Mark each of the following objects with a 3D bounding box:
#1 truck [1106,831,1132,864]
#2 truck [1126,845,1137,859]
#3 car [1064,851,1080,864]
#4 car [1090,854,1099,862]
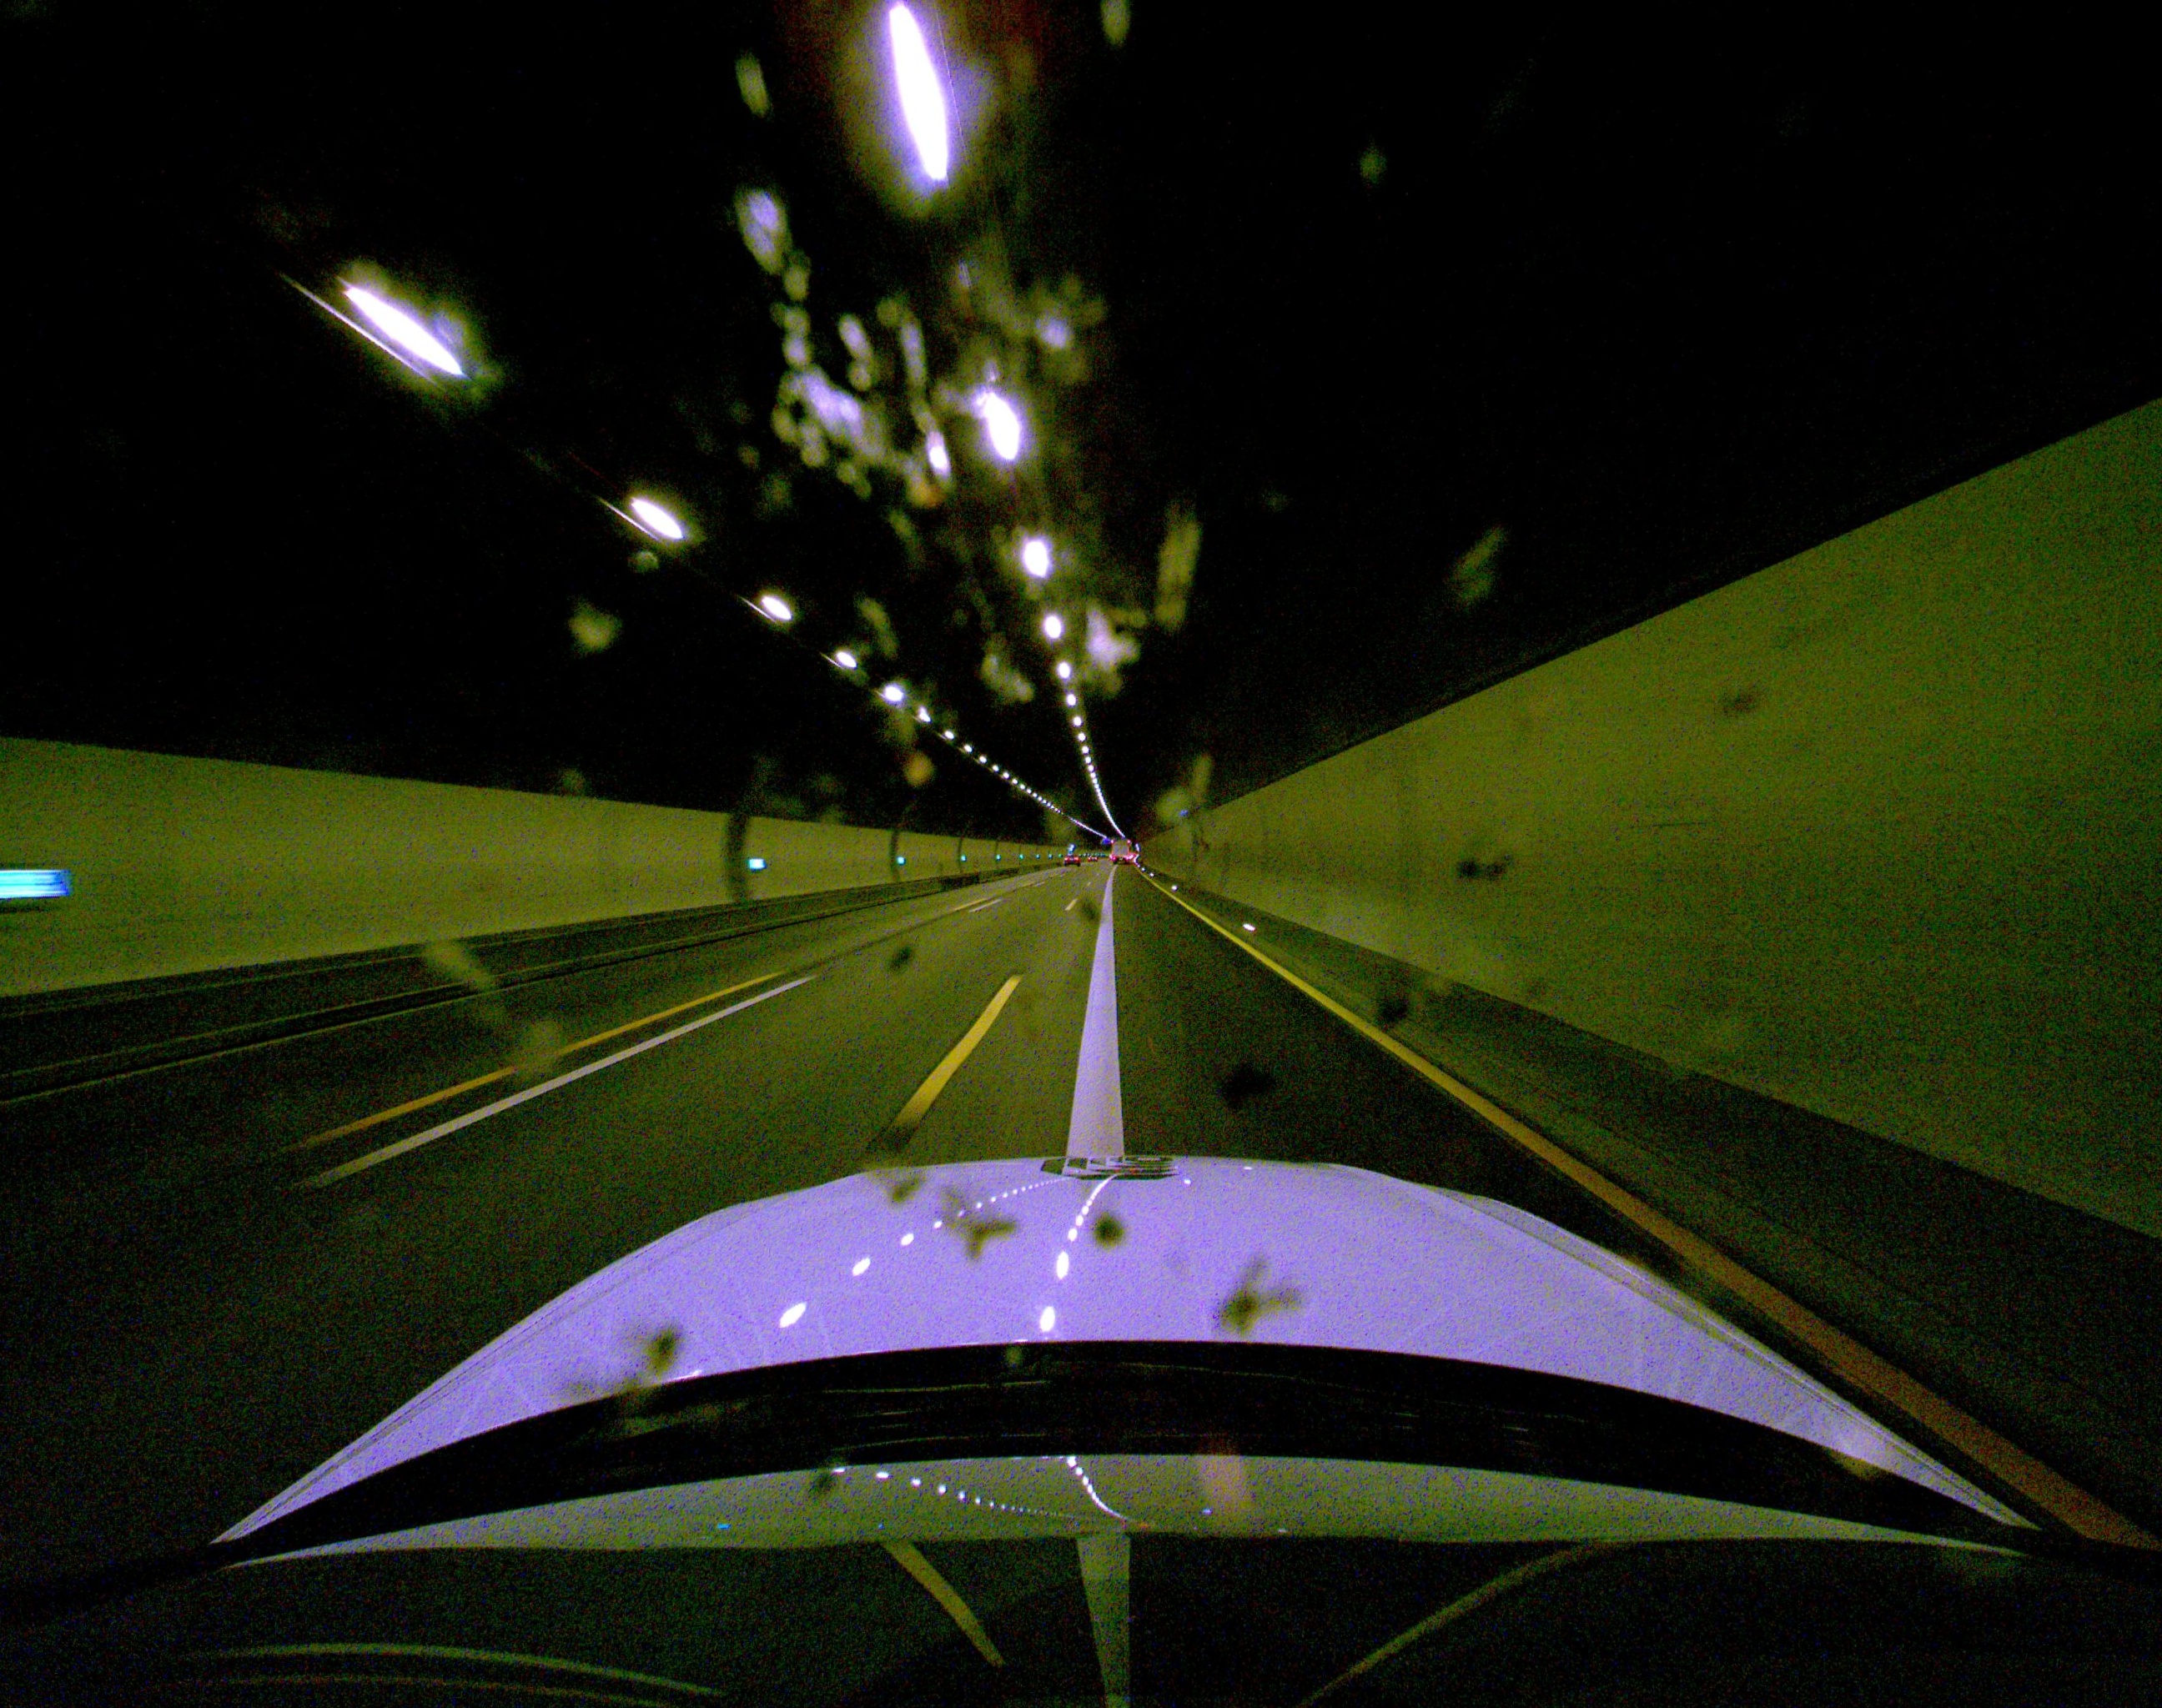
[{"bbox_3d":[5.778,-0.912,127.558,3.267,4.650,17.286,-2,0,0],"label":"truck"},{"bbox_3d":[15.501,-0.682,248.646,2.911,4.047,14.038,-2,0,2],"label":"truck"},{"bbox_3d":[-1.112,0.416,104.820,1.806,1.618,4.001,-1,0,1],"label":"car"},{"bbox_3d":[2.668,0.769,159.882,1.806,1.520,4.000,-1,1,0],"label":"car"}]
